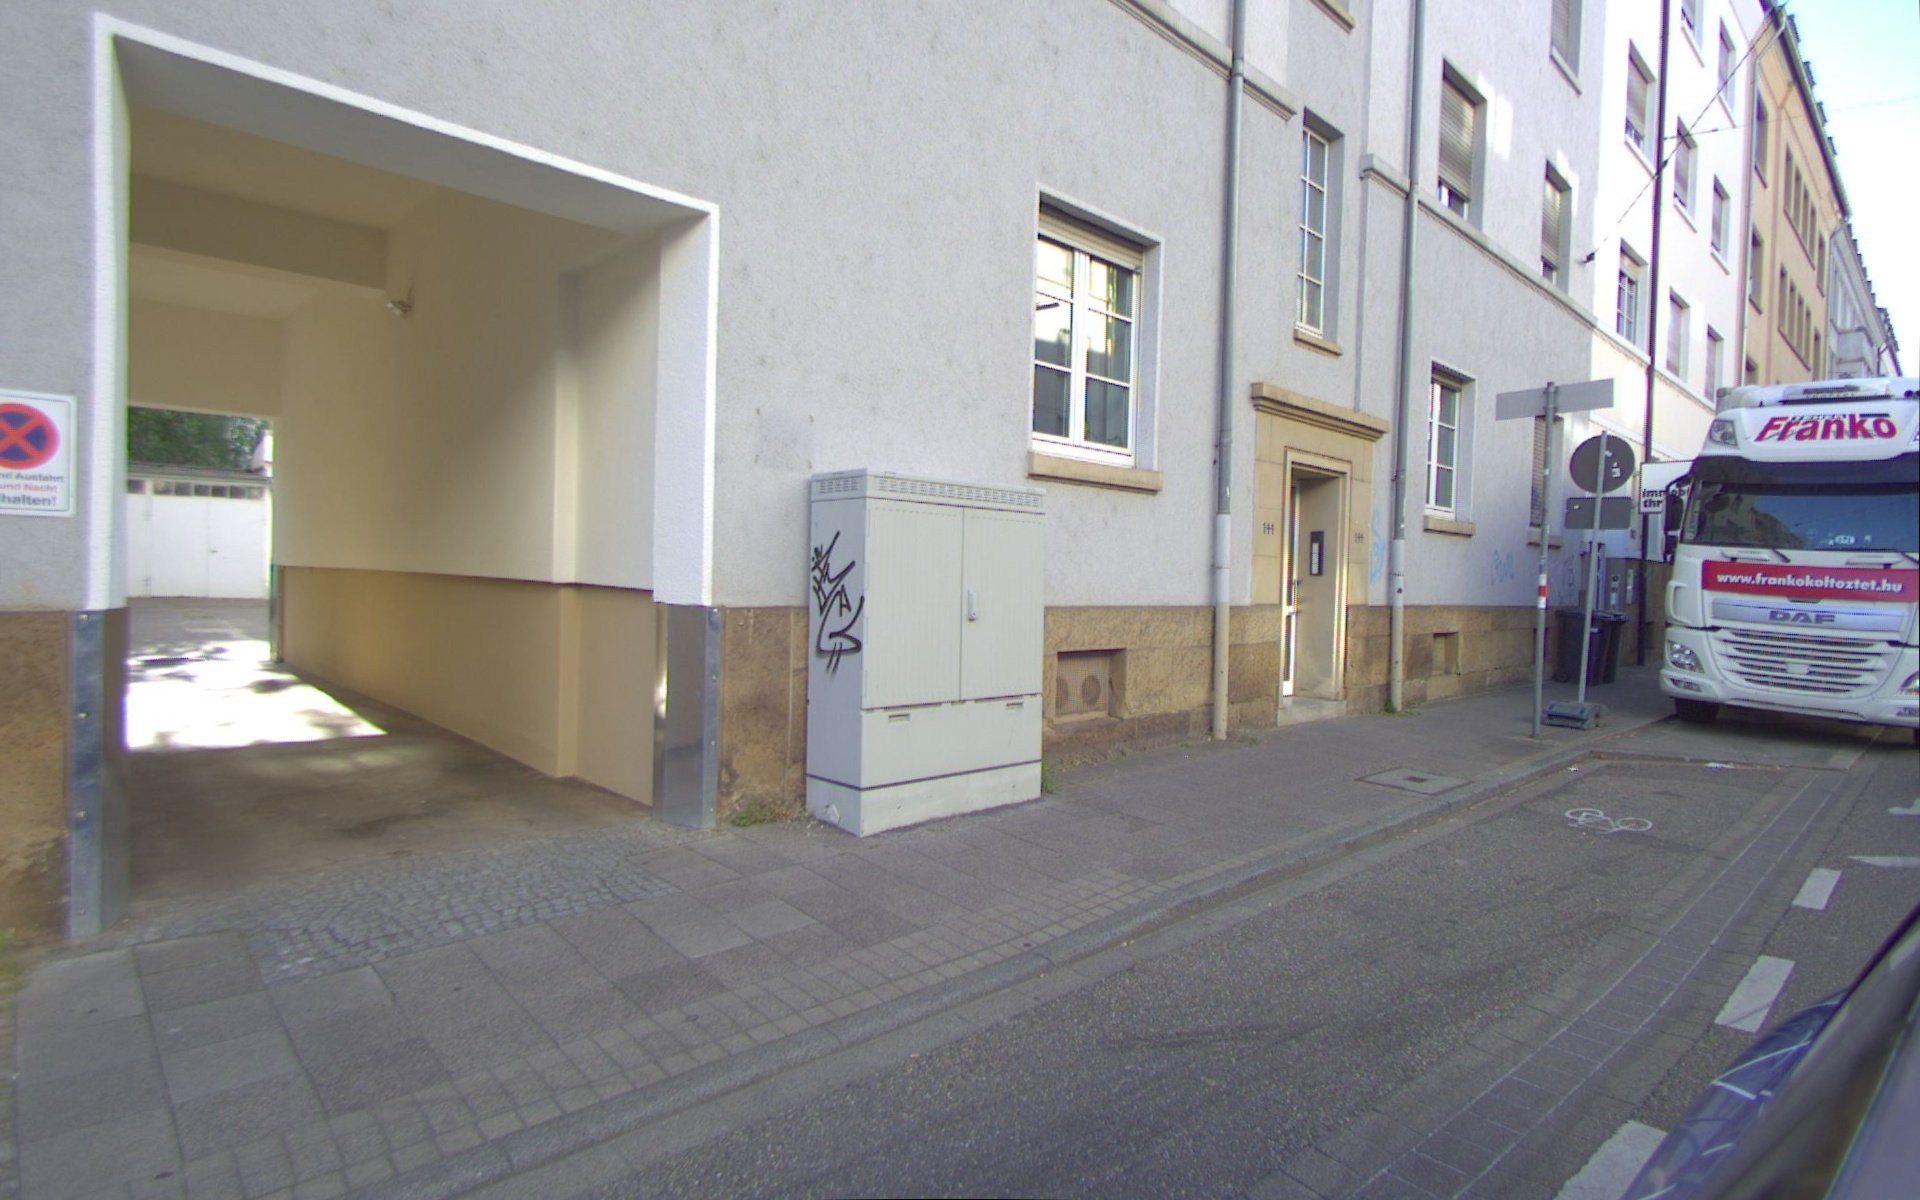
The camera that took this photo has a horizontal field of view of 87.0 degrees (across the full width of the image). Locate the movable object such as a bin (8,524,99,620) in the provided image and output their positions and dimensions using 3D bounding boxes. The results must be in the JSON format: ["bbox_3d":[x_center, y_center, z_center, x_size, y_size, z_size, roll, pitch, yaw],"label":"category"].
[{"bbox_3d":[-15.132,-0.453,16.926,1.091,1.512,1.328,0,0,-41],"label":"movable object such as a bin"}]

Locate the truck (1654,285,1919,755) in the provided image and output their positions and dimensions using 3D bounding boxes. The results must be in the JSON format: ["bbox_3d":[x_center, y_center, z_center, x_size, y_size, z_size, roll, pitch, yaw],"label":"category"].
[{"bbox_3d":[12.567,-0.855,13.682,11.579,4.290,2.697,-1,3,-43],"label":"truck"}]
